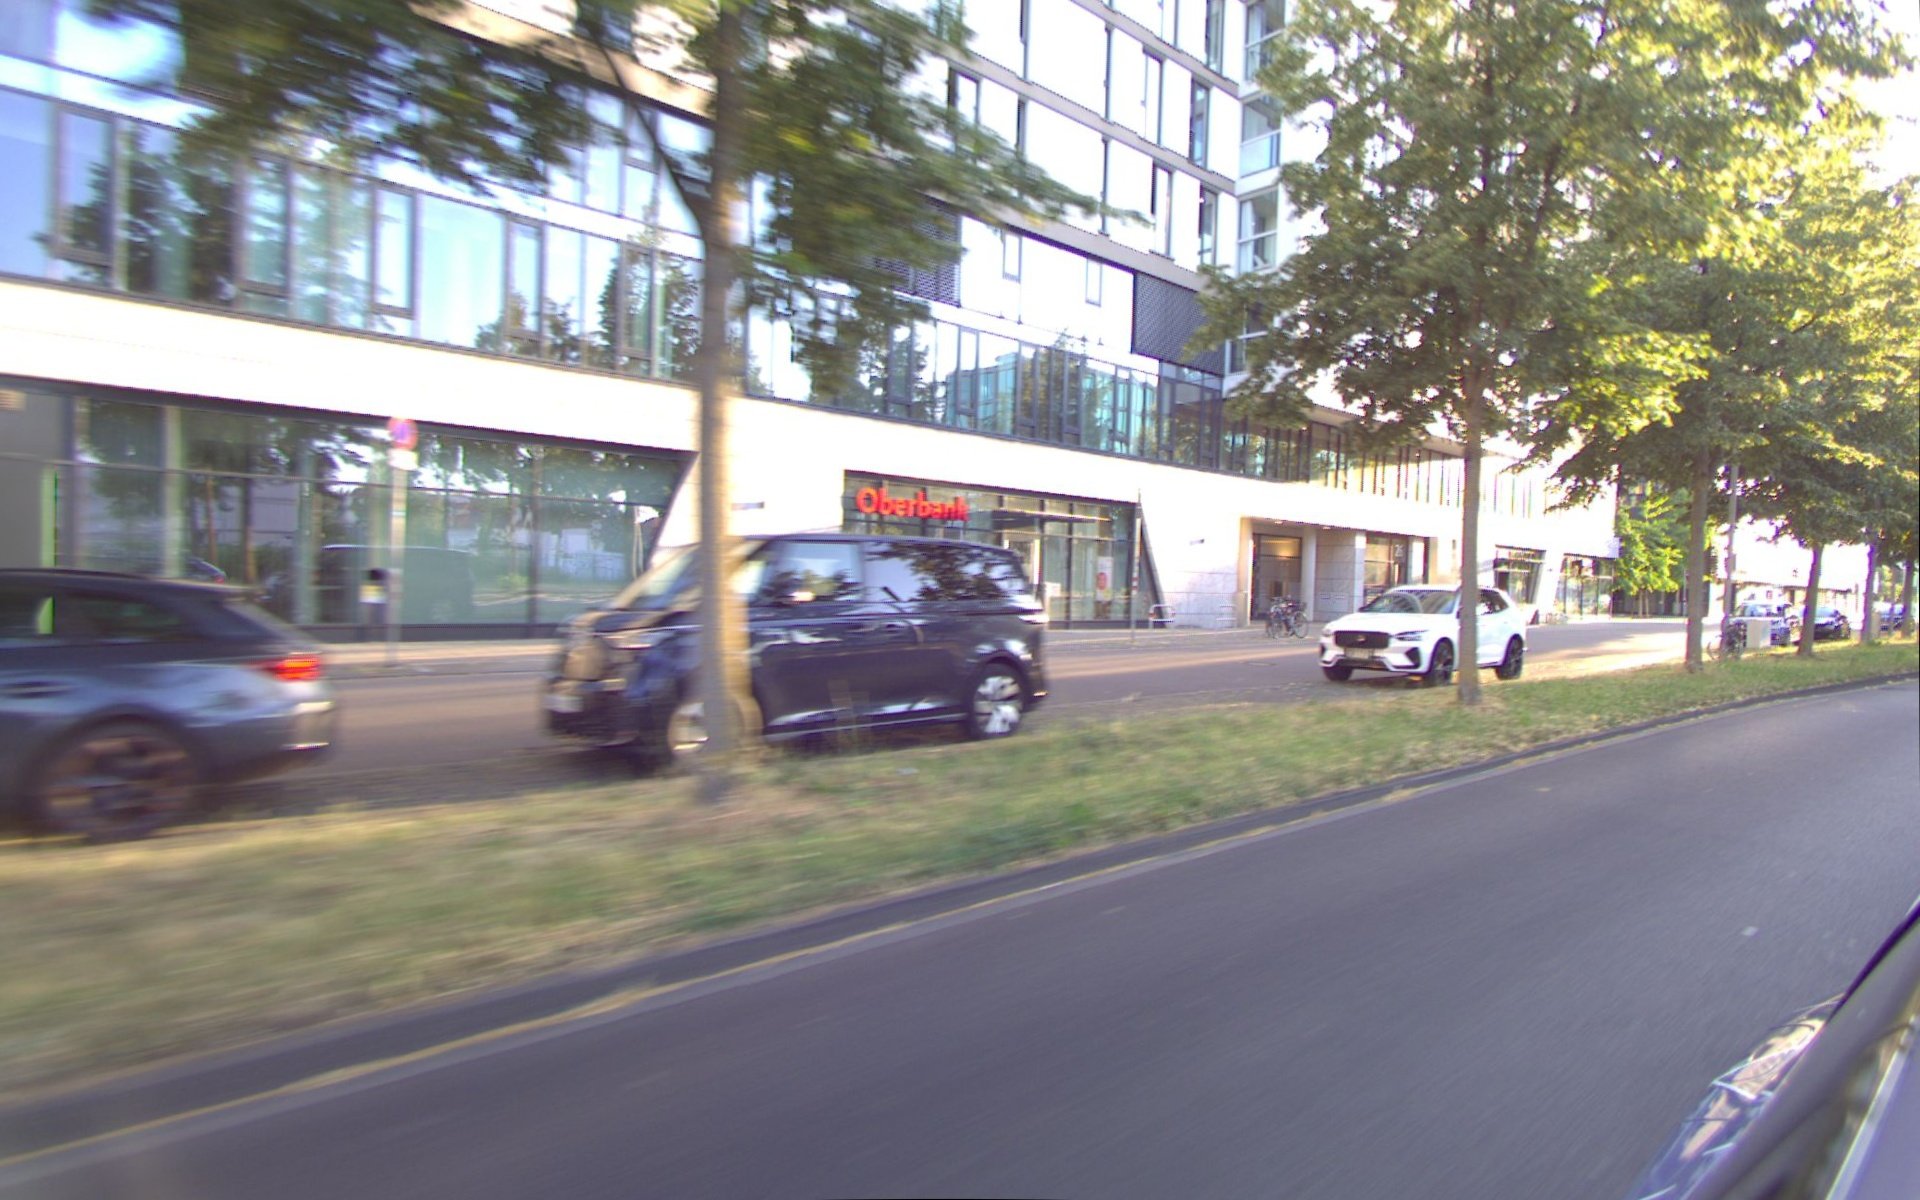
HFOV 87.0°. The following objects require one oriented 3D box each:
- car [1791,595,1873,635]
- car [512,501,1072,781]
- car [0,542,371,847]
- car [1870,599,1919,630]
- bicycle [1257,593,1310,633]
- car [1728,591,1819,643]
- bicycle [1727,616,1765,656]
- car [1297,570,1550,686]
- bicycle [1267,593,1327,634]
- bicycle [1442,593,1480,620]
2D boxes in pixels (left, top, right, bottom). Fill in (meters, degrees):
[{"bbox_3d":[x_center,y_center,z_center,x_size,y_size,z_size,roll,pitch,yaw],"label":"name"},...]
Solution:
[{"bbox_3d":[33.741,0.543,39.128,4.752,1.384,1.855,0,2,-43],"label":"car"},{"bbox_3d":[-1.288,0.244,9.051,4.585,1.875,1.997,0,2,-42],"label":"car"},{"bbox_3d":[-5.803,0.429,5.133,4.586,1.489,1.812,0,2,-43],"label":"car"},{"bbox_3d":[48.726,0.756,52.494,3.929,1.513,1.783,1,-2,-41],"label":"car"},{"bbox_3d":[8.806,0.355,27.507,1.774,1.052,0.471,1,1,-40],"label":"bicycle"},{"bbox_3d":[26.529,0.525,32.975,3.694,1.534,1.712,0,2,-42],"label":"car"},{"bbox_3d":[17.365,0.785,22.360,1.524,0.833,0.316,1,1,-40],"label":"bicycle"},{"bbox_3d":[7.921,0.397,17.098,4.791,1.663,1.998,0,2,-40],"label":"car"},{"bbox_3d":[8.965,0.357,26.895,1.859,1.052,0.596,1,1,-40],"label":"bicycle"},{"bbox_3d":[20.052,0.249,40.477,1.364,1.040,0.456,1,1,-14],"label":"bicycle"}]
